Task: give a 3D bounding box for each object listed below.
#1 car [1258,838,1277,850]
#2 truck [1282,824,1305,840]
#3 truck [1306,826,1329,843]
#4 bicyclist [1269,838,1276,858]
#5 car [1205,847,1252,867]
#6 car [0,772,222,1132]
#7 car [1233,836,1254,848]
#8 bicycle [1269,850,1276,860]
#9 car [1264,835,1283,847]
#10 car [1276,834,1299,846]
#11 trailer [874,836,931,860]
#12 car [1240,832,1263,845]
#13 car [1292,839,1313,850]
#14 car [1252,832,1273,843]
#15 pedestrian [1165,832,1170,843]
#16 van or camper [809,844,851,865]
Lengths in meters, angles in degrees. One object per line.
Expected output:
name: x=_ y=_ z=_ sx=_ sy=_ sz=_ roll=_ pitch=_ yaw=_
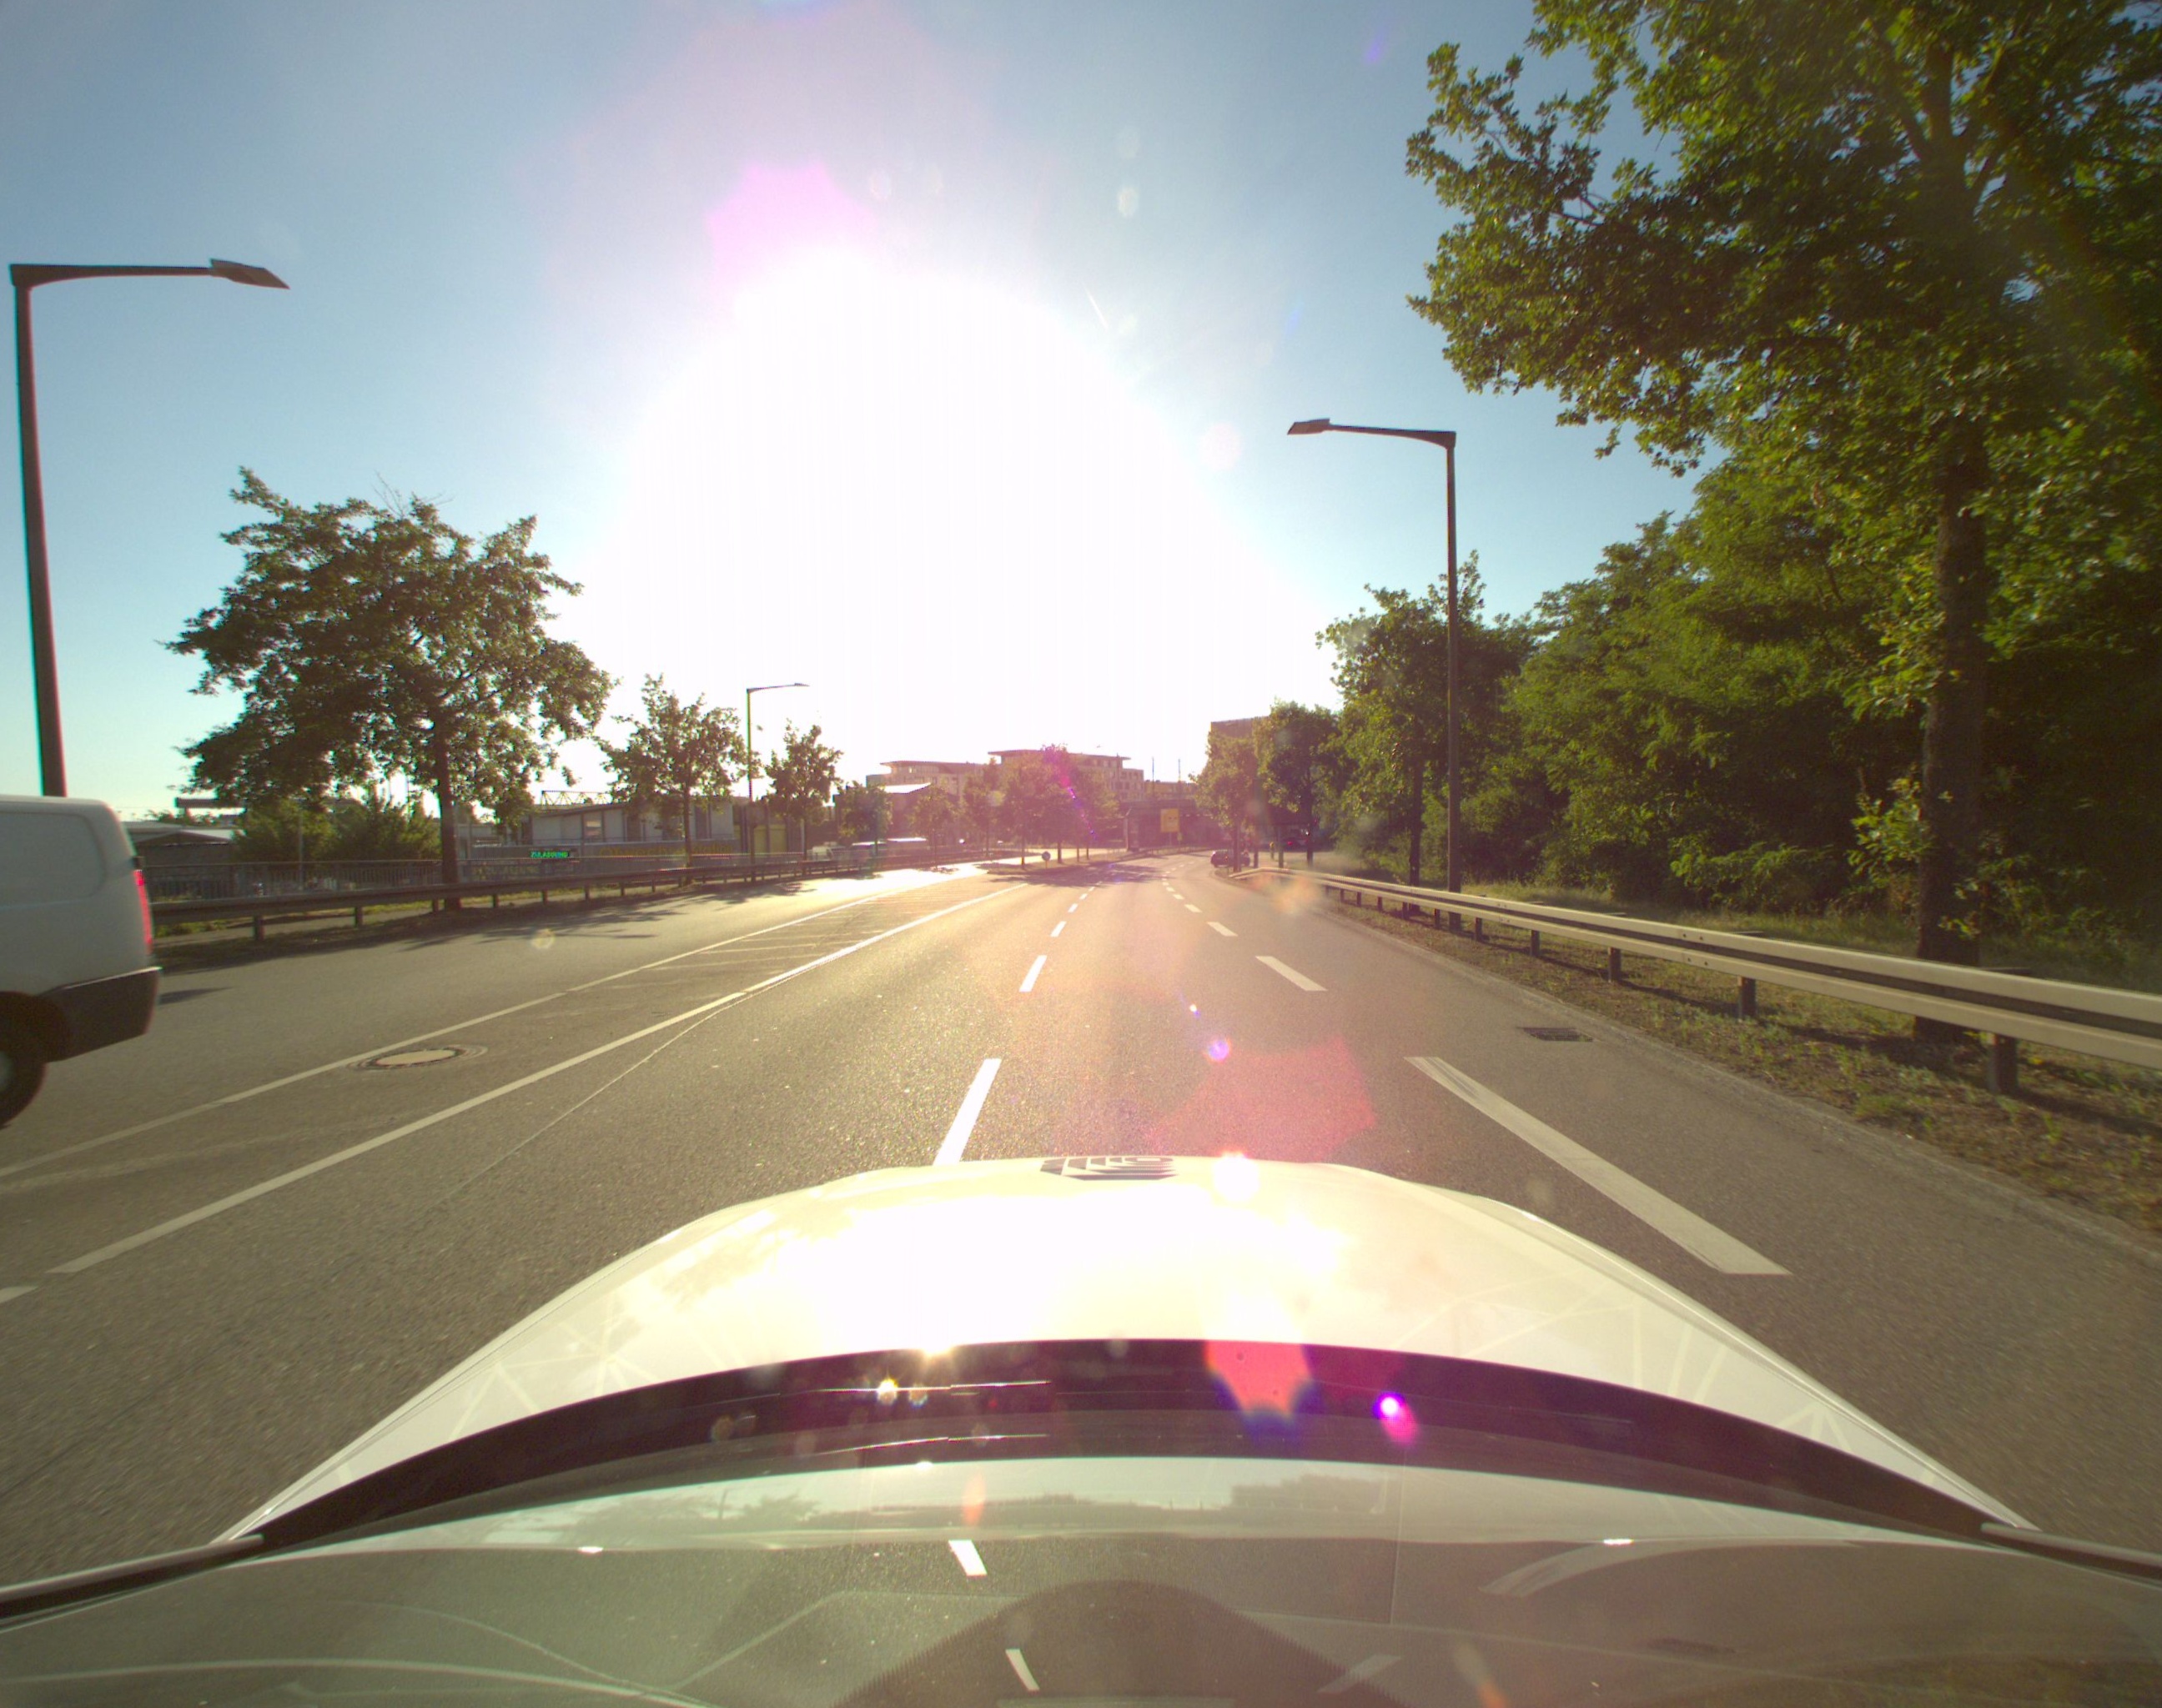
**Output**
car: x=25.973 y=-1.403 z=113.375 sx=1.532 sy=1.423 sz=3.439 roll=-3 pitch=1 yaw=30
truck: x=34.552 y=-3.588 z=132.332 sx=2.008 sy=2.556 sz=5.573 roll=1 pitch=2 yaw=34
truck: x=35.969 y=-2.965 z=123.823 sx=2.091 sy=2.519 sz=4.429 roll=0 pitch=1 yaw=32
bicyclist: x=18.784 y=-0.594 z=79.857 sx=0.677 sy=1.906 sz=0.836 roll=0 pitch=2 yaw=12
car: x=12.521 y=0.254 z=69.086 sx=1.975 sy=1.508 sz=4.025 roll=-3 pitch=0 yaw=44
car: x=-6.832 y=0.544 z=3.124 sx=1.876 sy=2.014 sz=5.248 roll=0 pitch=0 yaw=-6
car: x=20.925 y=-1.527 z=104.783 sx=1.567 sy=1.408 sz=3.856 roll=1 pitch=2 yaw=29
bicycle: x=18.800 y=0.090 z=79.981 sx=0.575 sy=0.963 sz=2.897 roll=0 pitch=2 yaw=13
car: x=29.860 y=-2.009 z=126.231 sx=1.824 sy=1.719 sz=4.025 roll=-3 pitch=0 yaw=28
car: x=28.079 y=-1.927 z=110.495 sx=1.724 sy=1.454 sz=4.636 roll=1 pitch=4 yaw=31
trailer: x=-15.543 y=-0.575 z=71.512 sx=2.404 sy=1.969 sz=6.627 roll=0 pitch=1 yaw=11
car: x=24.317 y=-2.180 z=115.745 sx=1.812 sy=1.738 sz=4.490 roll=0 pitch=2 yaw=31
car: x=31.820 y=-1.367 z=116.781 sx=1.755 sy=1.495 sz=3.857 roll=-1 pitch=1 yaw=33
car: x=27.071 y=-2.440 z=121.369 sx=1.823 sy=1.440 sz=3.699 roll=-3 pitch=0 yaw=30
pedestrian: x=14.911 y=-2.778 z=140.553 sx=0.687 sy=1.903 sz=0.669 roll=0 pitch=2 yaw=35
van or camper: x=-24.281 y=0.060 z=78.711 sx=4.176 sy=1.925 sz=2.012 roll=-1 pitch=0 yaw=42
